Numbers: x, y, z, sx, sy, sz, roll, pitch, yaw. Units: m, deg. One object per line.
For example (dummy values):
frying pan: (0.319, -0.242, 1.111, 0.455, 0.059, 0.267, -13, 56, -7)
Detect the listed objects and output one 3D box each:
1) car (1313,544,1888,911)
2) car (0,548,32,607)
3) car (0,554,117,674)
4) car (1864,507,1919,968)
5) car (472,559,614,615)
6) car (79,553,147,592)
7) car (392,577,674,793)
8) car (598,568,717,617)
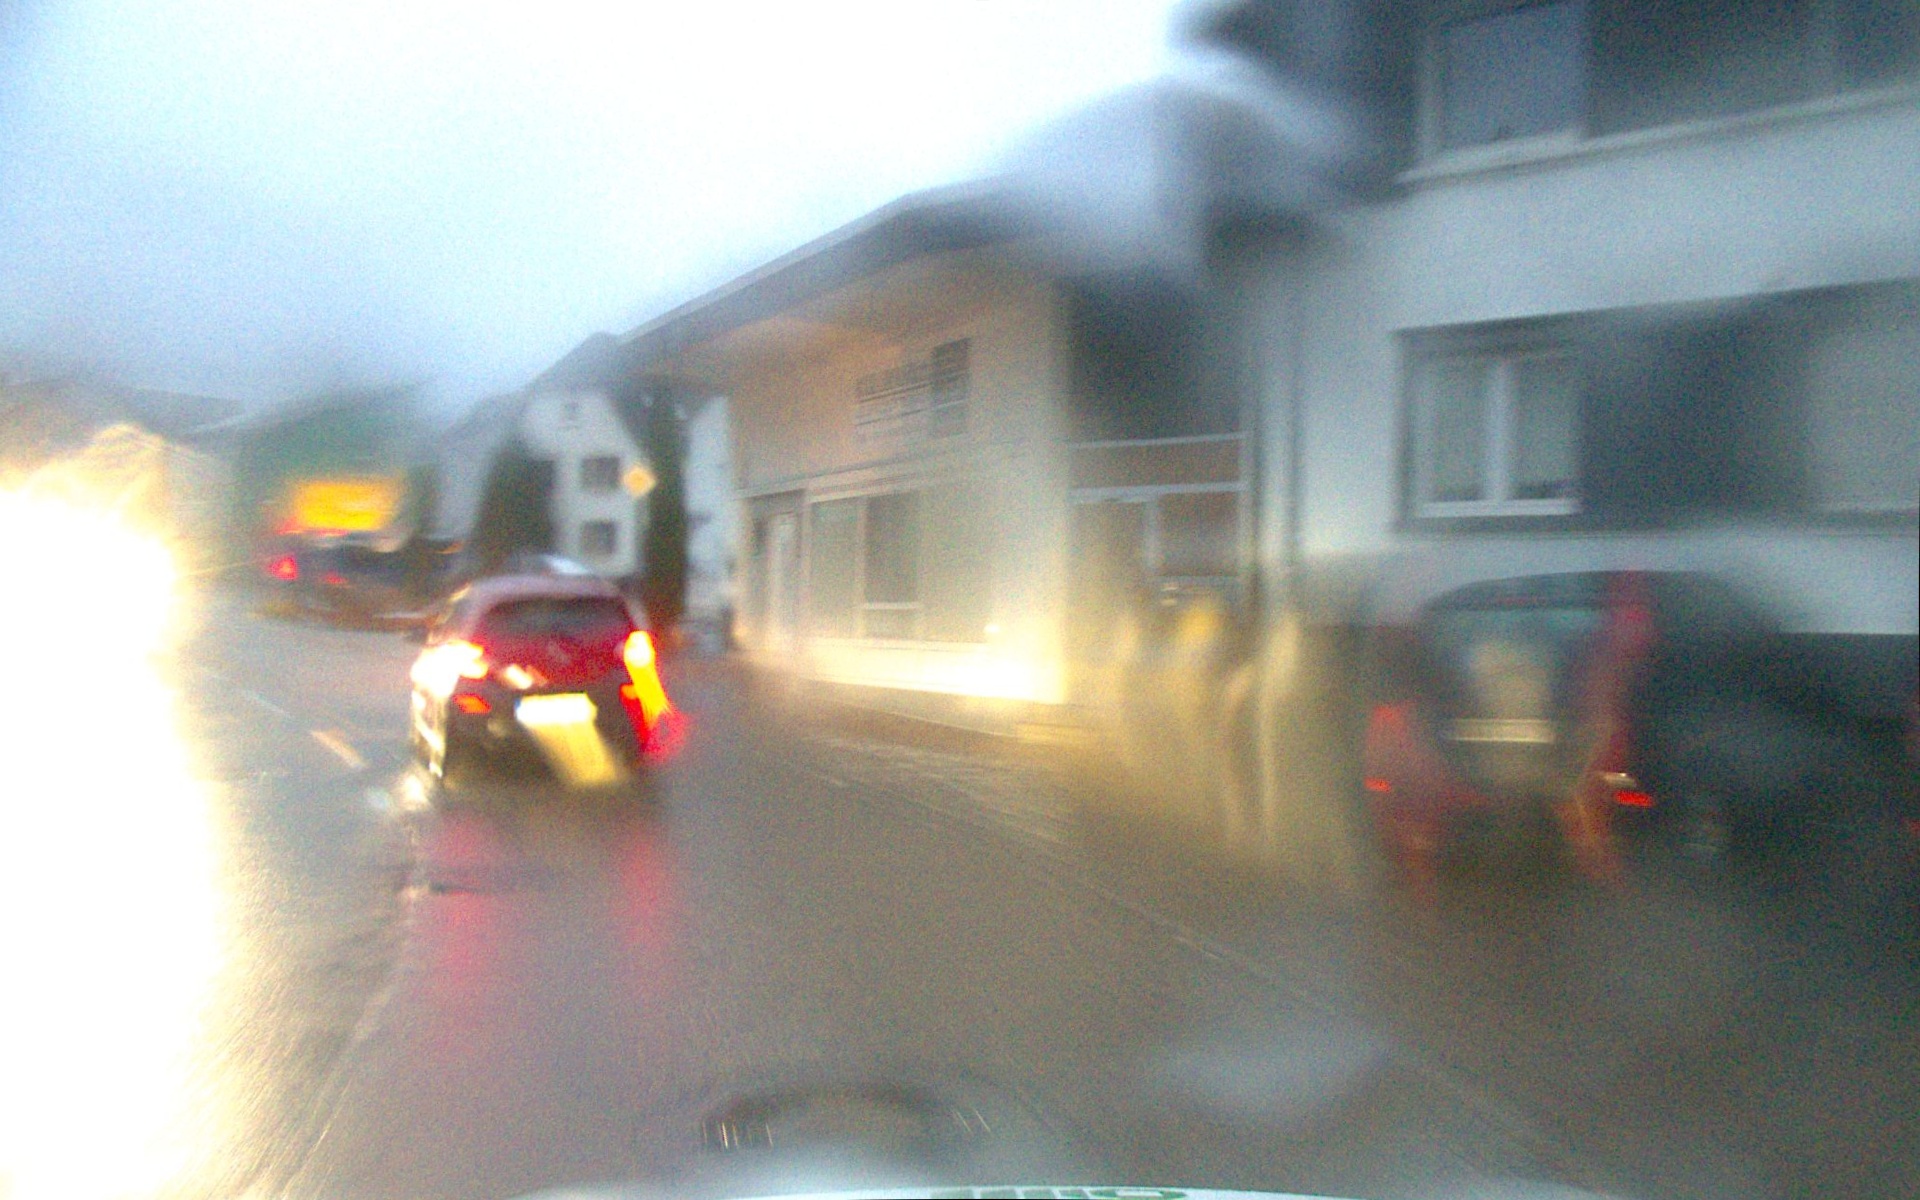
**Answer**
car: (3.743, 0.525, 9.251, 1.853, 1.475, 3.875, -2, 2, 39)
car: (-29.550, -0.730, 50.514, 1.894, 1.682, 3.957, 3, 1, -32)
car: (-14.483, 0.154, 25.949, 1.859, 1.640, 4.553, 1, 2, -32)
car: (5.460, 0.368, 7.321, 1.820, 1.689, 4.457, -2, 2, 38)
car: (-13.096, -0.431, 51.875, 4.455, 1.657, 1.810, 1, 2, 33)
car: (-40.880, -1.357, 79.806, 1.983, 1.672, 3.940, 3, 1, -42)
car: (-3.614, 0.594, 13.567, 1.527, 1.491, 3.668, 2, 0, -26)
car: (-10.526, -0.287, 57.551, 3.916, 1.594, 1.810, 1, 2, 33)
